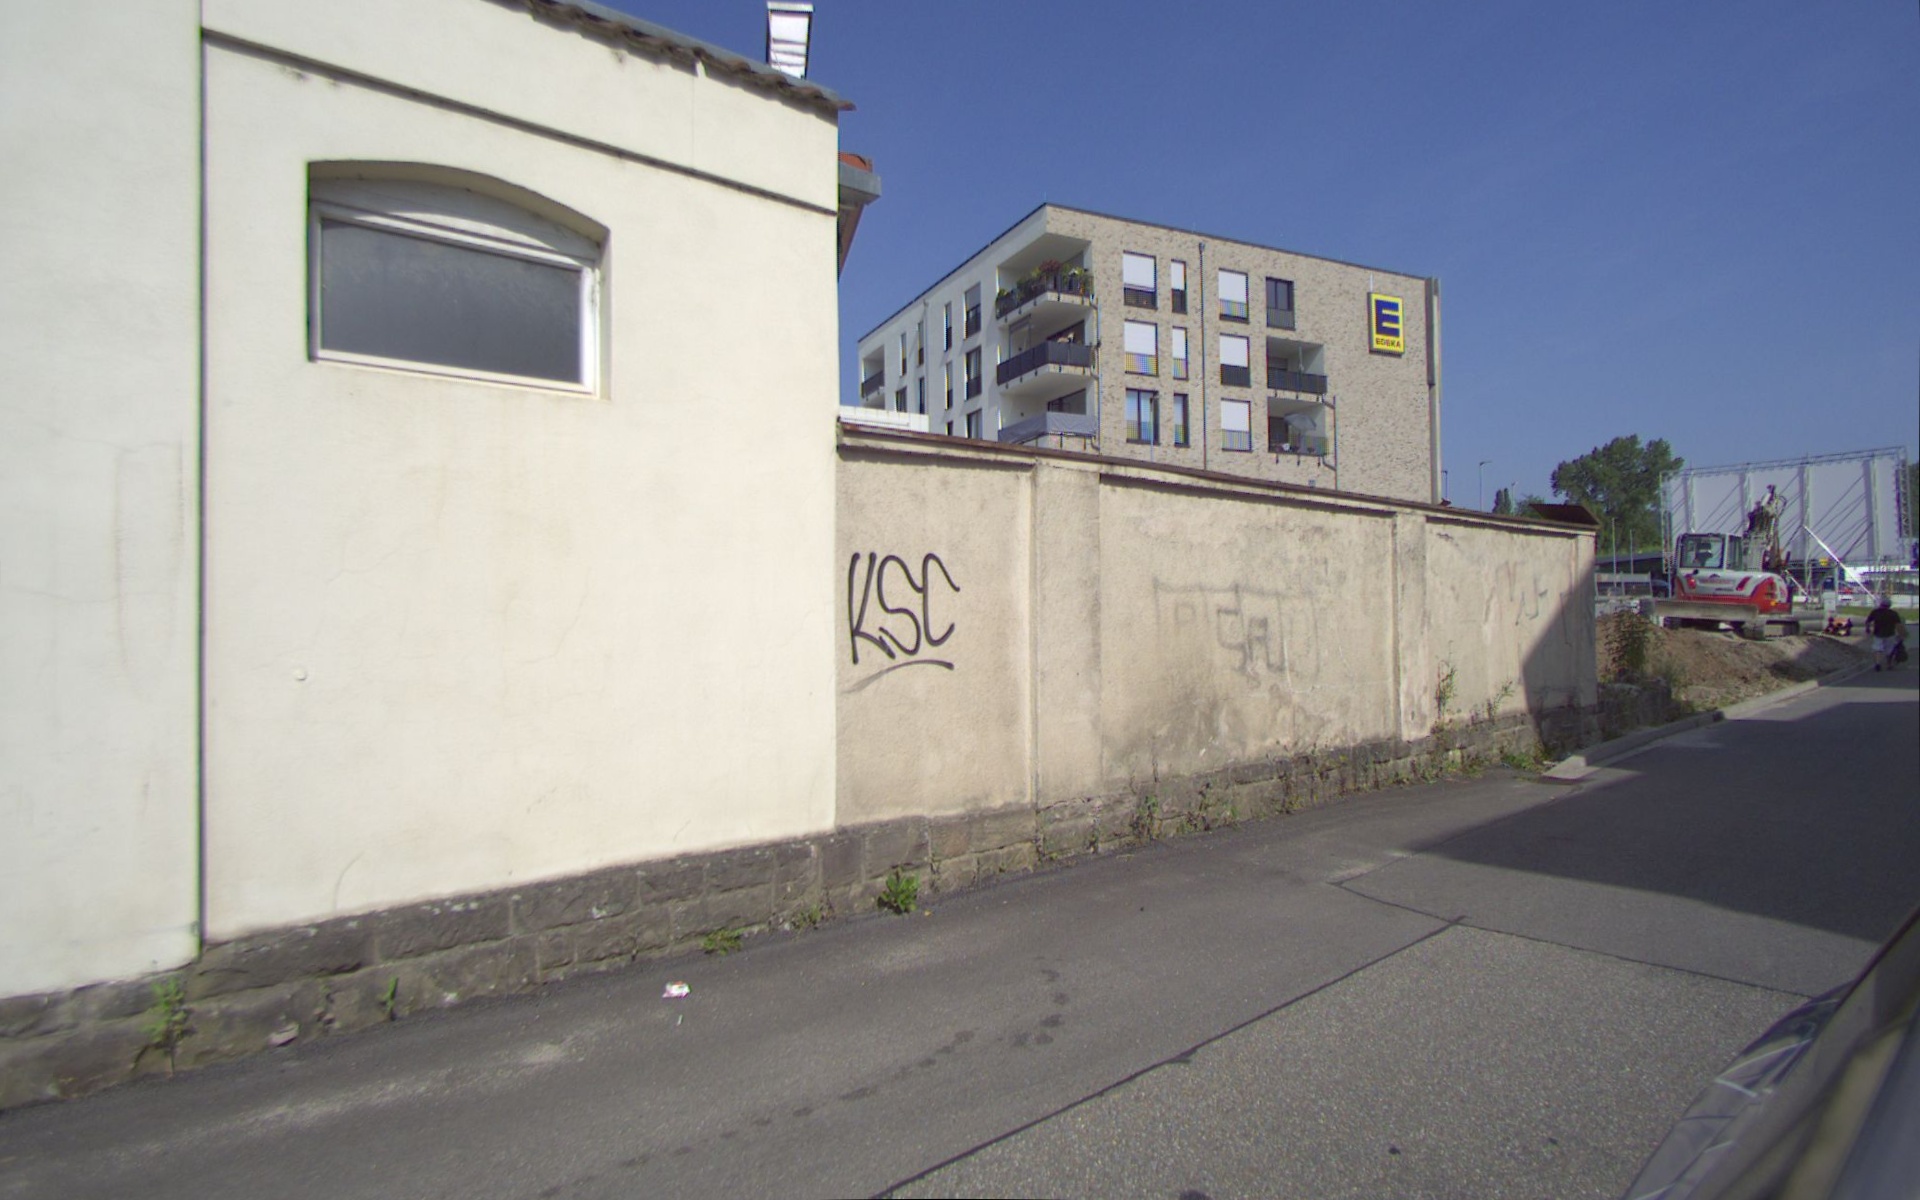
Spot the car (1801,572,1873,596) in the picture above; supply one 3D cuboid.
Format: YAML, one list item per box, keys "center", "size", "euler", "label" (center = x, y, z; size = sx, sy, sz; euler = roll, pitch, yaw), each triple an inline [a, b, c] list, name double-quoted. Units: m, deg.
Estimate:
- center: [70.030, -1.286, 80.899]
  size: [1.746, 1.595, 4.017]
  euler: [1, -4, -38]
  label: "car"

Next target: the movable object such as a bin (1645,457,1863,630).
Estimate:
- center: [20.783, -1.317, 26.318]
  size: [7.653, 3.904, 2.300]
  euler: [-1, -3, -37]
  label: "movable object such as a bin"

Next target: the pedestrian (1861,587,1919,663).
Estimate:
- center: [21.492, 0.585, 23.321]
  size: [0.706, 1.705, 0.890]
  euler: [-1, -3, -40]
  label: "pedestrian"

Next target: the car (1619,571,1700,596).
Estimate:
- center: [53.812, -1.235, 77.983]
  size: [1.882, 1.550, 4.867]
  euler: [0, -3, -19]
  label: "car"

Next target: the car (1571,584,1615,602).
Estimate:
- center: [60.227, -0.655, 96.288]
  size: [3.708, 1.595, 1.668]
  euler: [0, -4, -24]
  label: "car"
